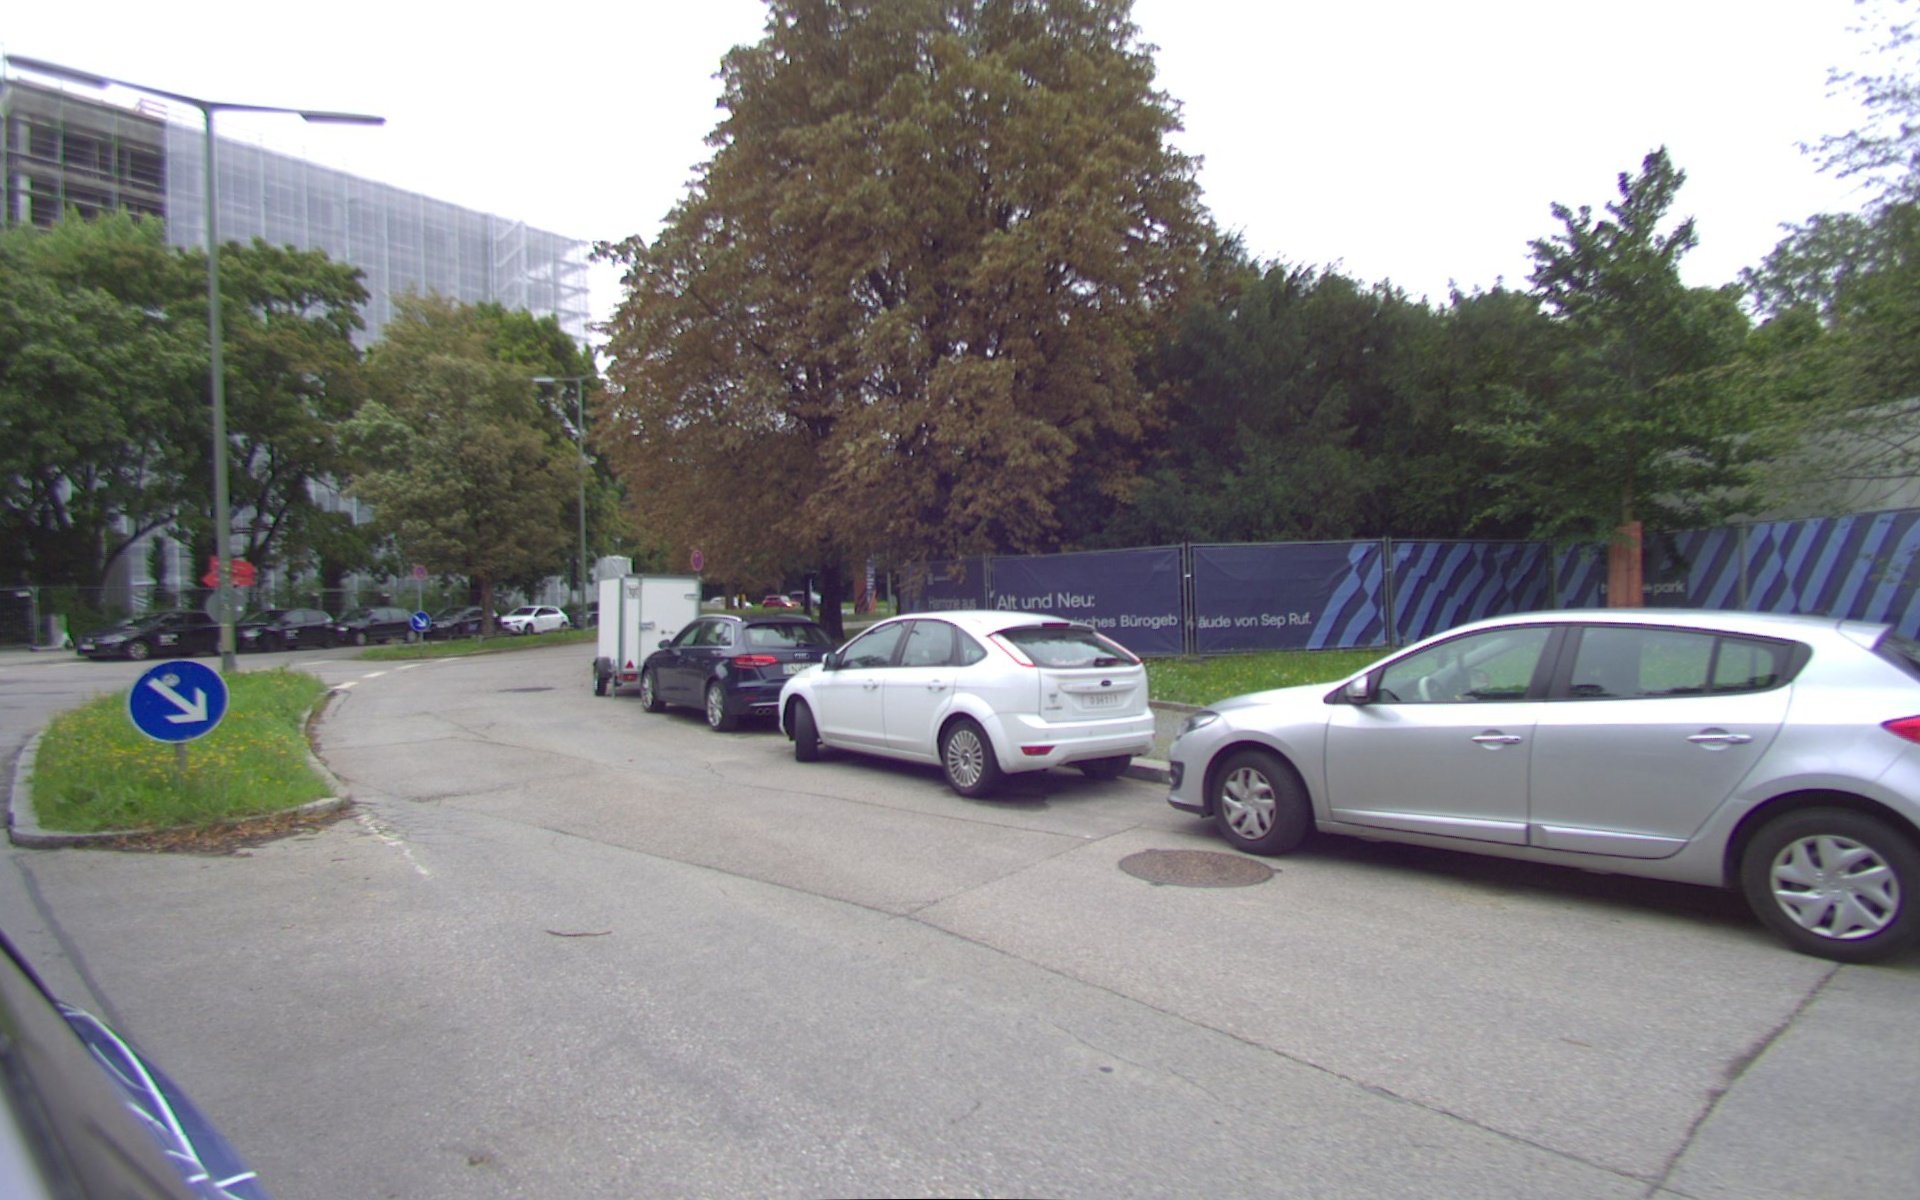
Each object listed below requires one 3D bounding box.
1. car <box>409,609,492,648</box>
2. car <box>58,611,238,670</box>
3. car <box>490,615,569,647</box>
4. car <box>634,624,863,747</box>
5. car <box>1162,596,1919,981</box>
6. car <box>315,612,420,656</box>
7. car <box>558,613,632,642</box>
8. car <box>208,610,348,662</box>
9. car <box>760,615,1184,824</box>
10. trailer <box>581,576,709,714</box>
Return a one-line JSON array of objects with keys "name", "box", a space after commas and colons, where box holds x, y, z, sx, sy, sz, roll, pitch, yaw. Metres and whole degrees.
[{"name": "car", "box": [-21.624, 1.172, 43.038, 1.509, 1.584, 2.894, 0, 0, 20]}, {"name": "car", "box": [-23.937, 1.132, 30.017, 1.774, 1.584, 3.867, 0, 0, 16]}, {"name": "car", "box": [-20.460, 1.434, 48.234, 1.507, 1.397, 3.700, 0, 0, 16]}, {"name": "car", "box": [-2.983, 1.039, 13.695, 1.667, 1.423, 3.805, 2, -2, -35]}, {"name": "car", "box": [3.403, 0.765, 5.549, 1.970, 1.470, 4.122, 2, -2, -45]}, {"name": "car", "box": [-22.629, 1.264, 38.745, 1.645, 1.584, 3.245, 0, 0, 17]}, {"name": "car", "box": [-18.808, 1.378, 52.261, 1.511, 1.397, 3.691, 0, 0, 23]}, {"name": "car", "box": [-23.139, 1.172, 34.495, 1.770, 1.584, 3.873, 0, 0, 11]}, {"name": "car", "box": [-0.100, 0.901, 9.281, 1.715, 1.470, 4.038, 2, -2, -39]}, {"name": "trailer", "box": [-5.593, 0.740, 17.795, 1.752, 2.198, 2.786, 1, -1, -25]}]
